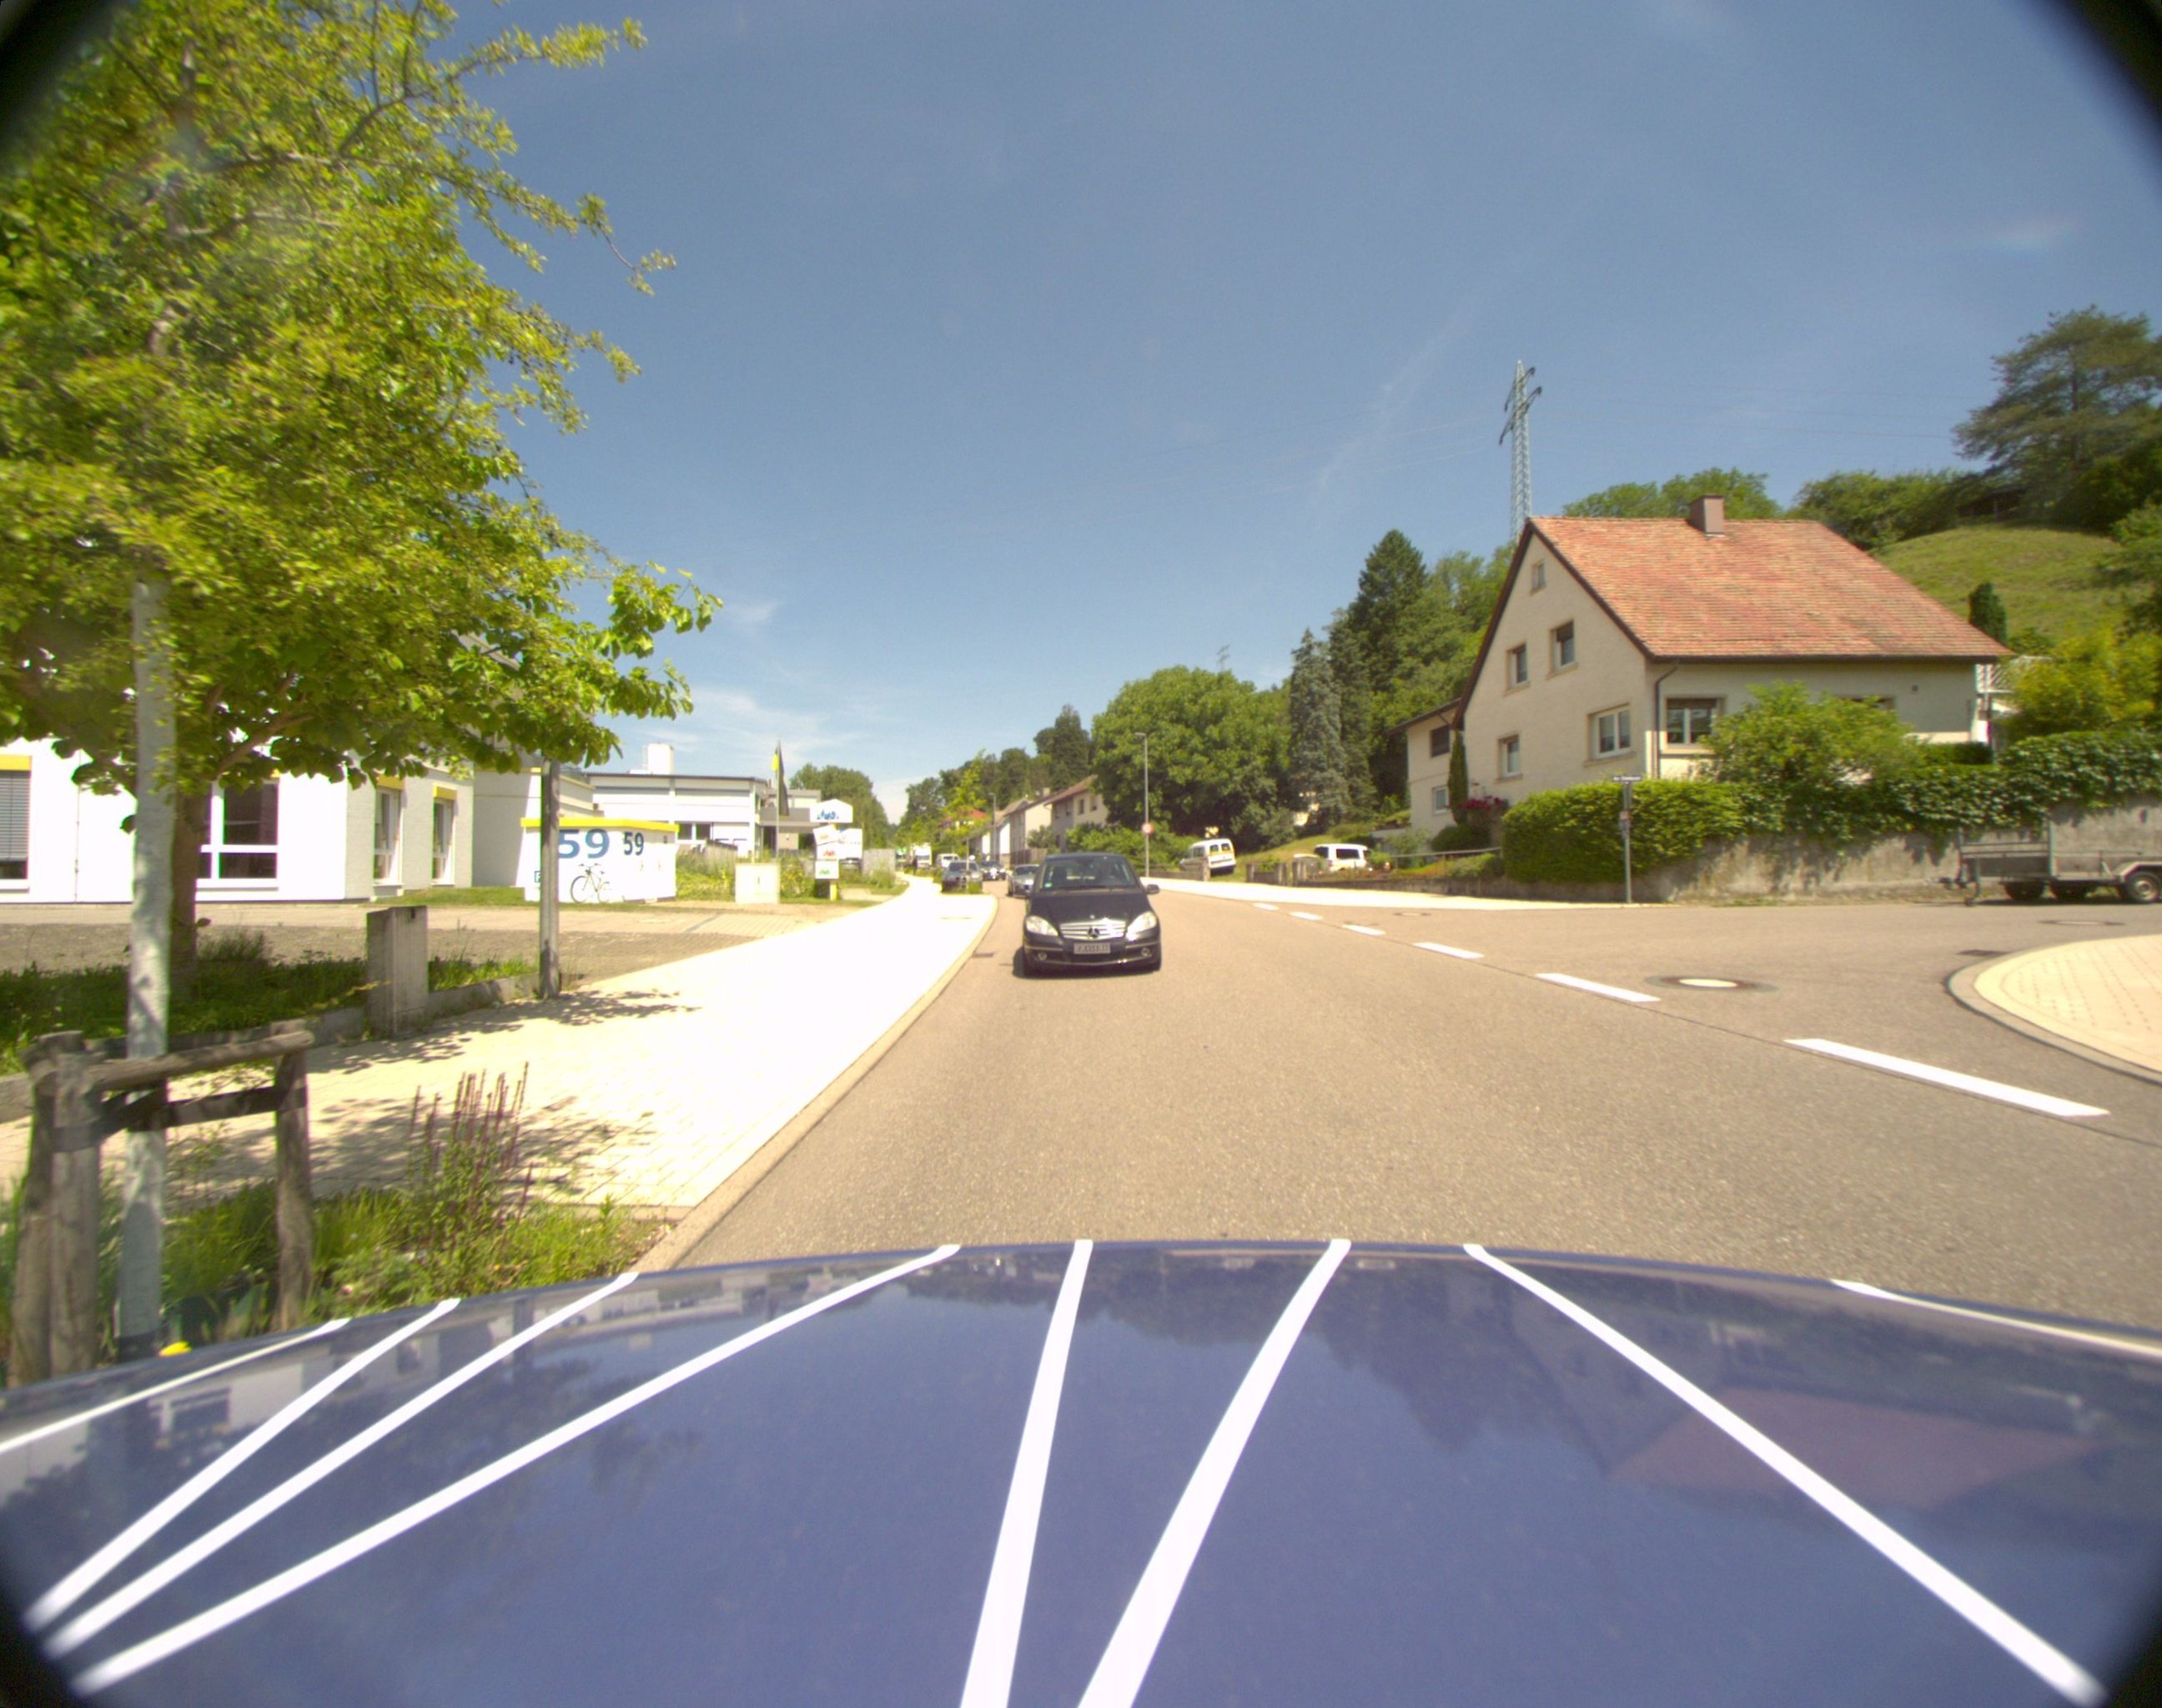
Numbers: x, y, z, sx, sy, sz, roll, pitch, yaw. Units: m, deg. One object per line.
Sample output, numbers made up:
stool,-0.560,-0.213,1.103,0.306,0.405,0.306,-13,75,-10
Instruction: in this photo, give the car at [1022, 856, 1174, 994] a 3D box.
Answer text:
car,0.067,0.848,11.128,1.791,1.595,4.073,-1,0,-4

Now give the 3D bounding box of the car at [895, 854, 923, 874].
car,-14.265,0.812,62.873,1.654,1.520,3.857,-1,0,-21

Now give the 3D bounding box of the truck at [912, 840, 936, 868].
truck,-20.372,0.029,98.426,2.809,3.394,8.110,-1,0,-13

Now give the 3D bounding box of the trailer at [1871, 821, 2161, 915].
trailer,18.197,0.213,13.839,5.072,1.496,2.001,-3,0,9

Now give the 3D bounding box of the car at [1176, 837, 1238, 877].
car,6.479,0.149,39.528,1.705,1.937,3.995,-2,0,-14

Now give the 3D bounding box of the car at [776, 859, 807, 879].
car,-20.913,1.045,54.990,1.746,1.357,3.835,-1,0,-16

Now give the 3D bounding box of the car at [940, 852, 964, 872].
car,-12.435,0.764,72.861,1.970,1.823,4.459,0,0,-14

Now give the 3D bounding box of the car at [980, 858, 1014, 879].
car,-5.689,0.943,51.234,1.912,1.342,3.996,-1,0,-12

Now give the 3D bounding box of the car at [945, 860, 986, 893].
car,-5.096,0.955,33.831,1.676,1.368,3.997,0,0,-8

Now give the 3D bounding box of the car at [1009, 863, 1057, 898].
car,-1.992,1.007,30.493,1.668,1.253,3.549,-1,0,-8

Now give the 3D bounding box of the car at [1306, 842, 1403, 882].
car,13.055,0.400,36.314,4.003,1.778,1.809,0,-4,-18

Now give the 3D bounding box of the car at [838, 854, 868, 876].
car,-16.796,0.772,55.937,2.002,1.477,3.994,2,0,-16
